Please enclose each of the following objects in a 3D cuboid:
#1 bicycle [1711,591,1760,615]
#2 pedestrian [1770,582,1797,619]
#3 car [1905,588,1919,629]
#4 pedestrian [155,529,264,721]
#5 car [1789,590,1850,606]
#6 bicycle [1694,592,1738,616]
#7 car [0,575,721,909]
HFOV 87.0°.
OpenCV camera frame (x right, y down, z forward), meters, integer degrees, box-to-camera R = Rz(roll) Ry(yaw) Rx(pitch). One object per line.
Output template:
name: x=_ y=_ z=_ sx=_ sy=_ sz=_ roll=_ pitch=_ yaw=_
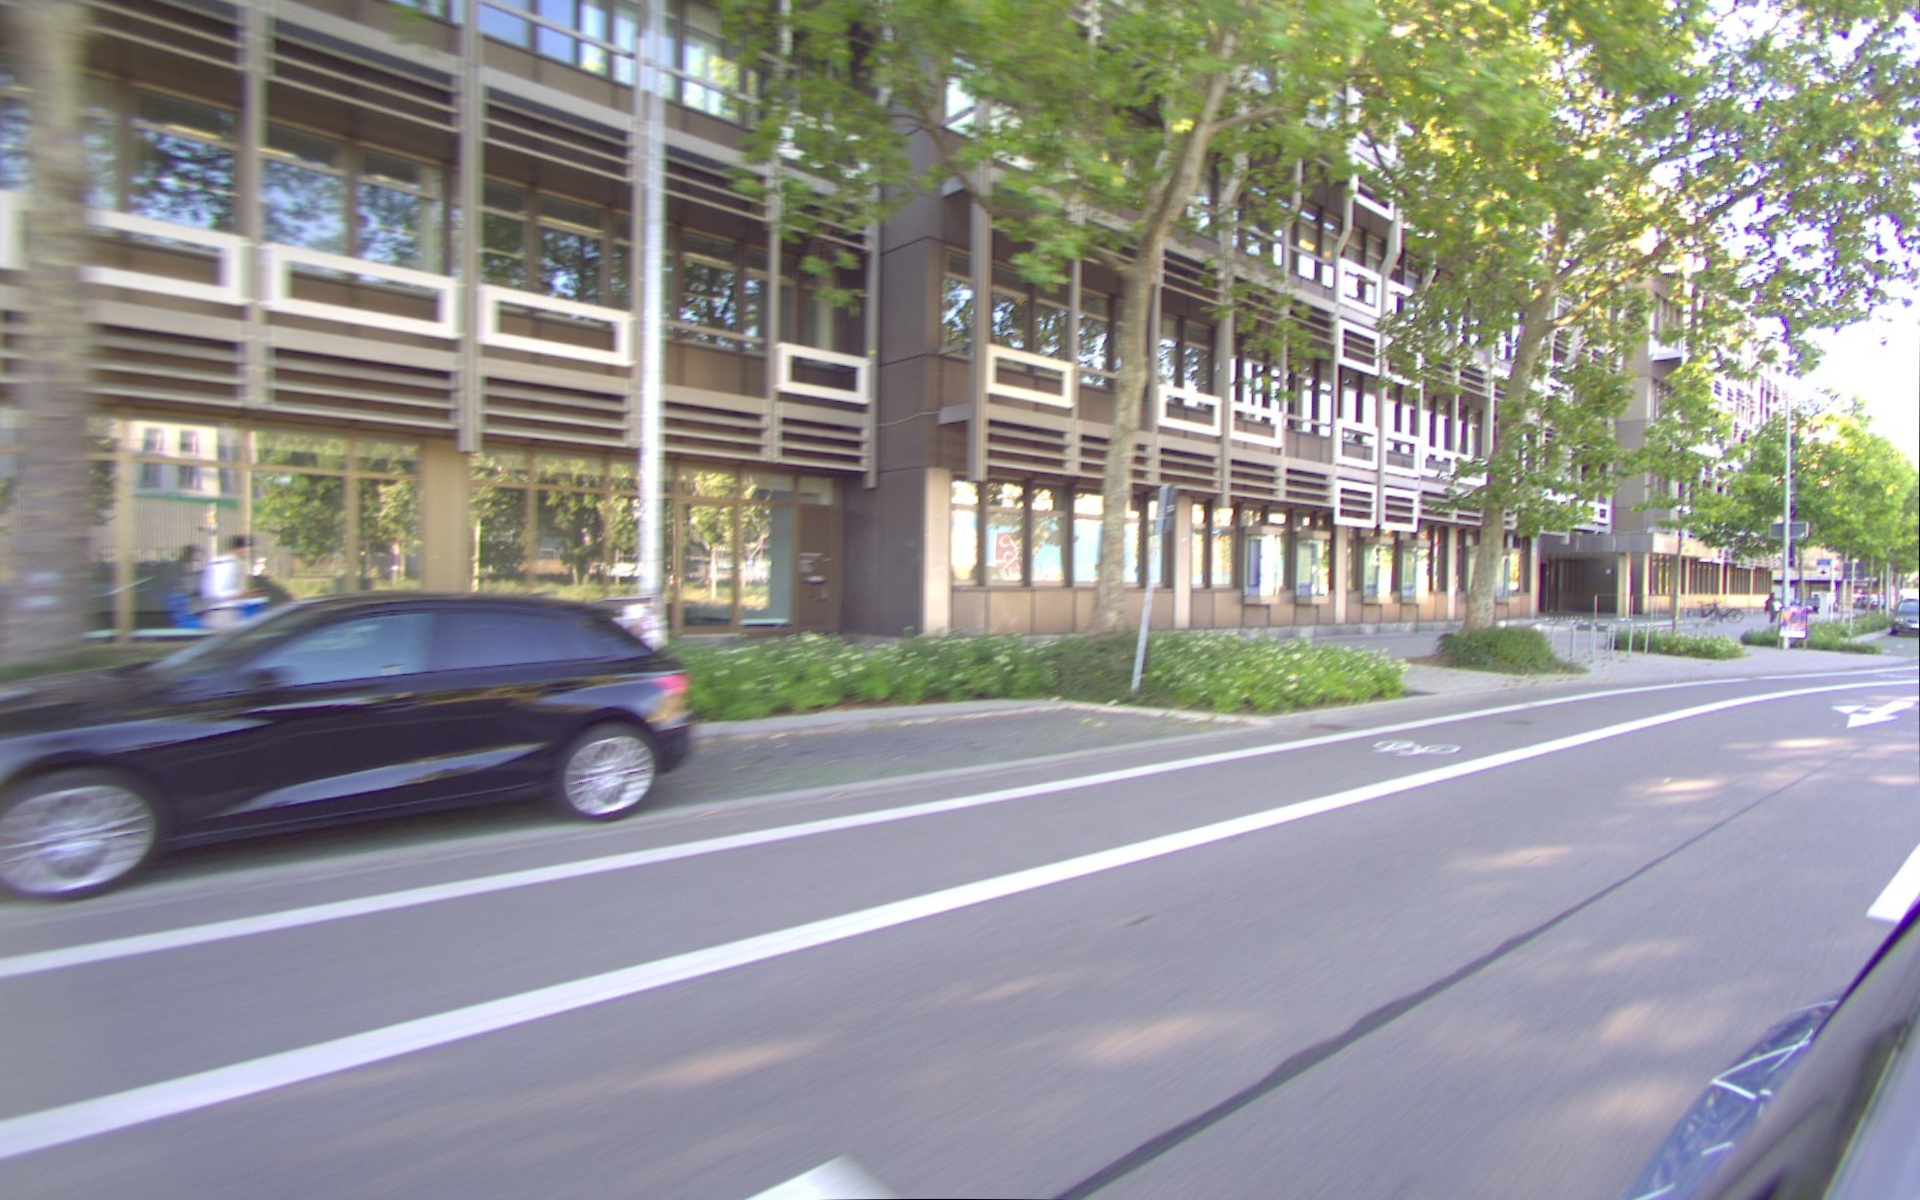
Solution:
bicycle: x=38.835 y=0.153 z=50.679 sx=1.899 sy=1.106 sz=0.386 roll=3 pitch=2 yaw=42
pedestrian: x=38.166 y=-0.001 z=46.912 sx=1.117 sy=1.668 sz=0.790 roll=0 pitch=2 yaw=-43
car: x=42.823 y=0.404 z=44.398 sx=4.440 sy=1.709 sz=1.730 roll=0 pitch=3 yaw=-45
pedestrian: x=-7.787 y=0.237 z=10.498 sx=0.832 sy=1.879 sz=0.833 roll=0 pitch=1 yaw=-41
car: x=81.543 y=-0.207 z=96.047 sx=4.248 sy=1.468 sz=1.840 roll=1 pitch=2 yaw=36
bicycle: x=36.893 y=0.164 z=49.391 sx=0.385 sy=1.095 sz=1.630 roll=0 pitch=2 yaw=-40
car: x=-3.779 y=0.625 z=6.155 sx=4.201 sy=1.435 sz=1.710 roll=0 pitch=3 yaw=-41
